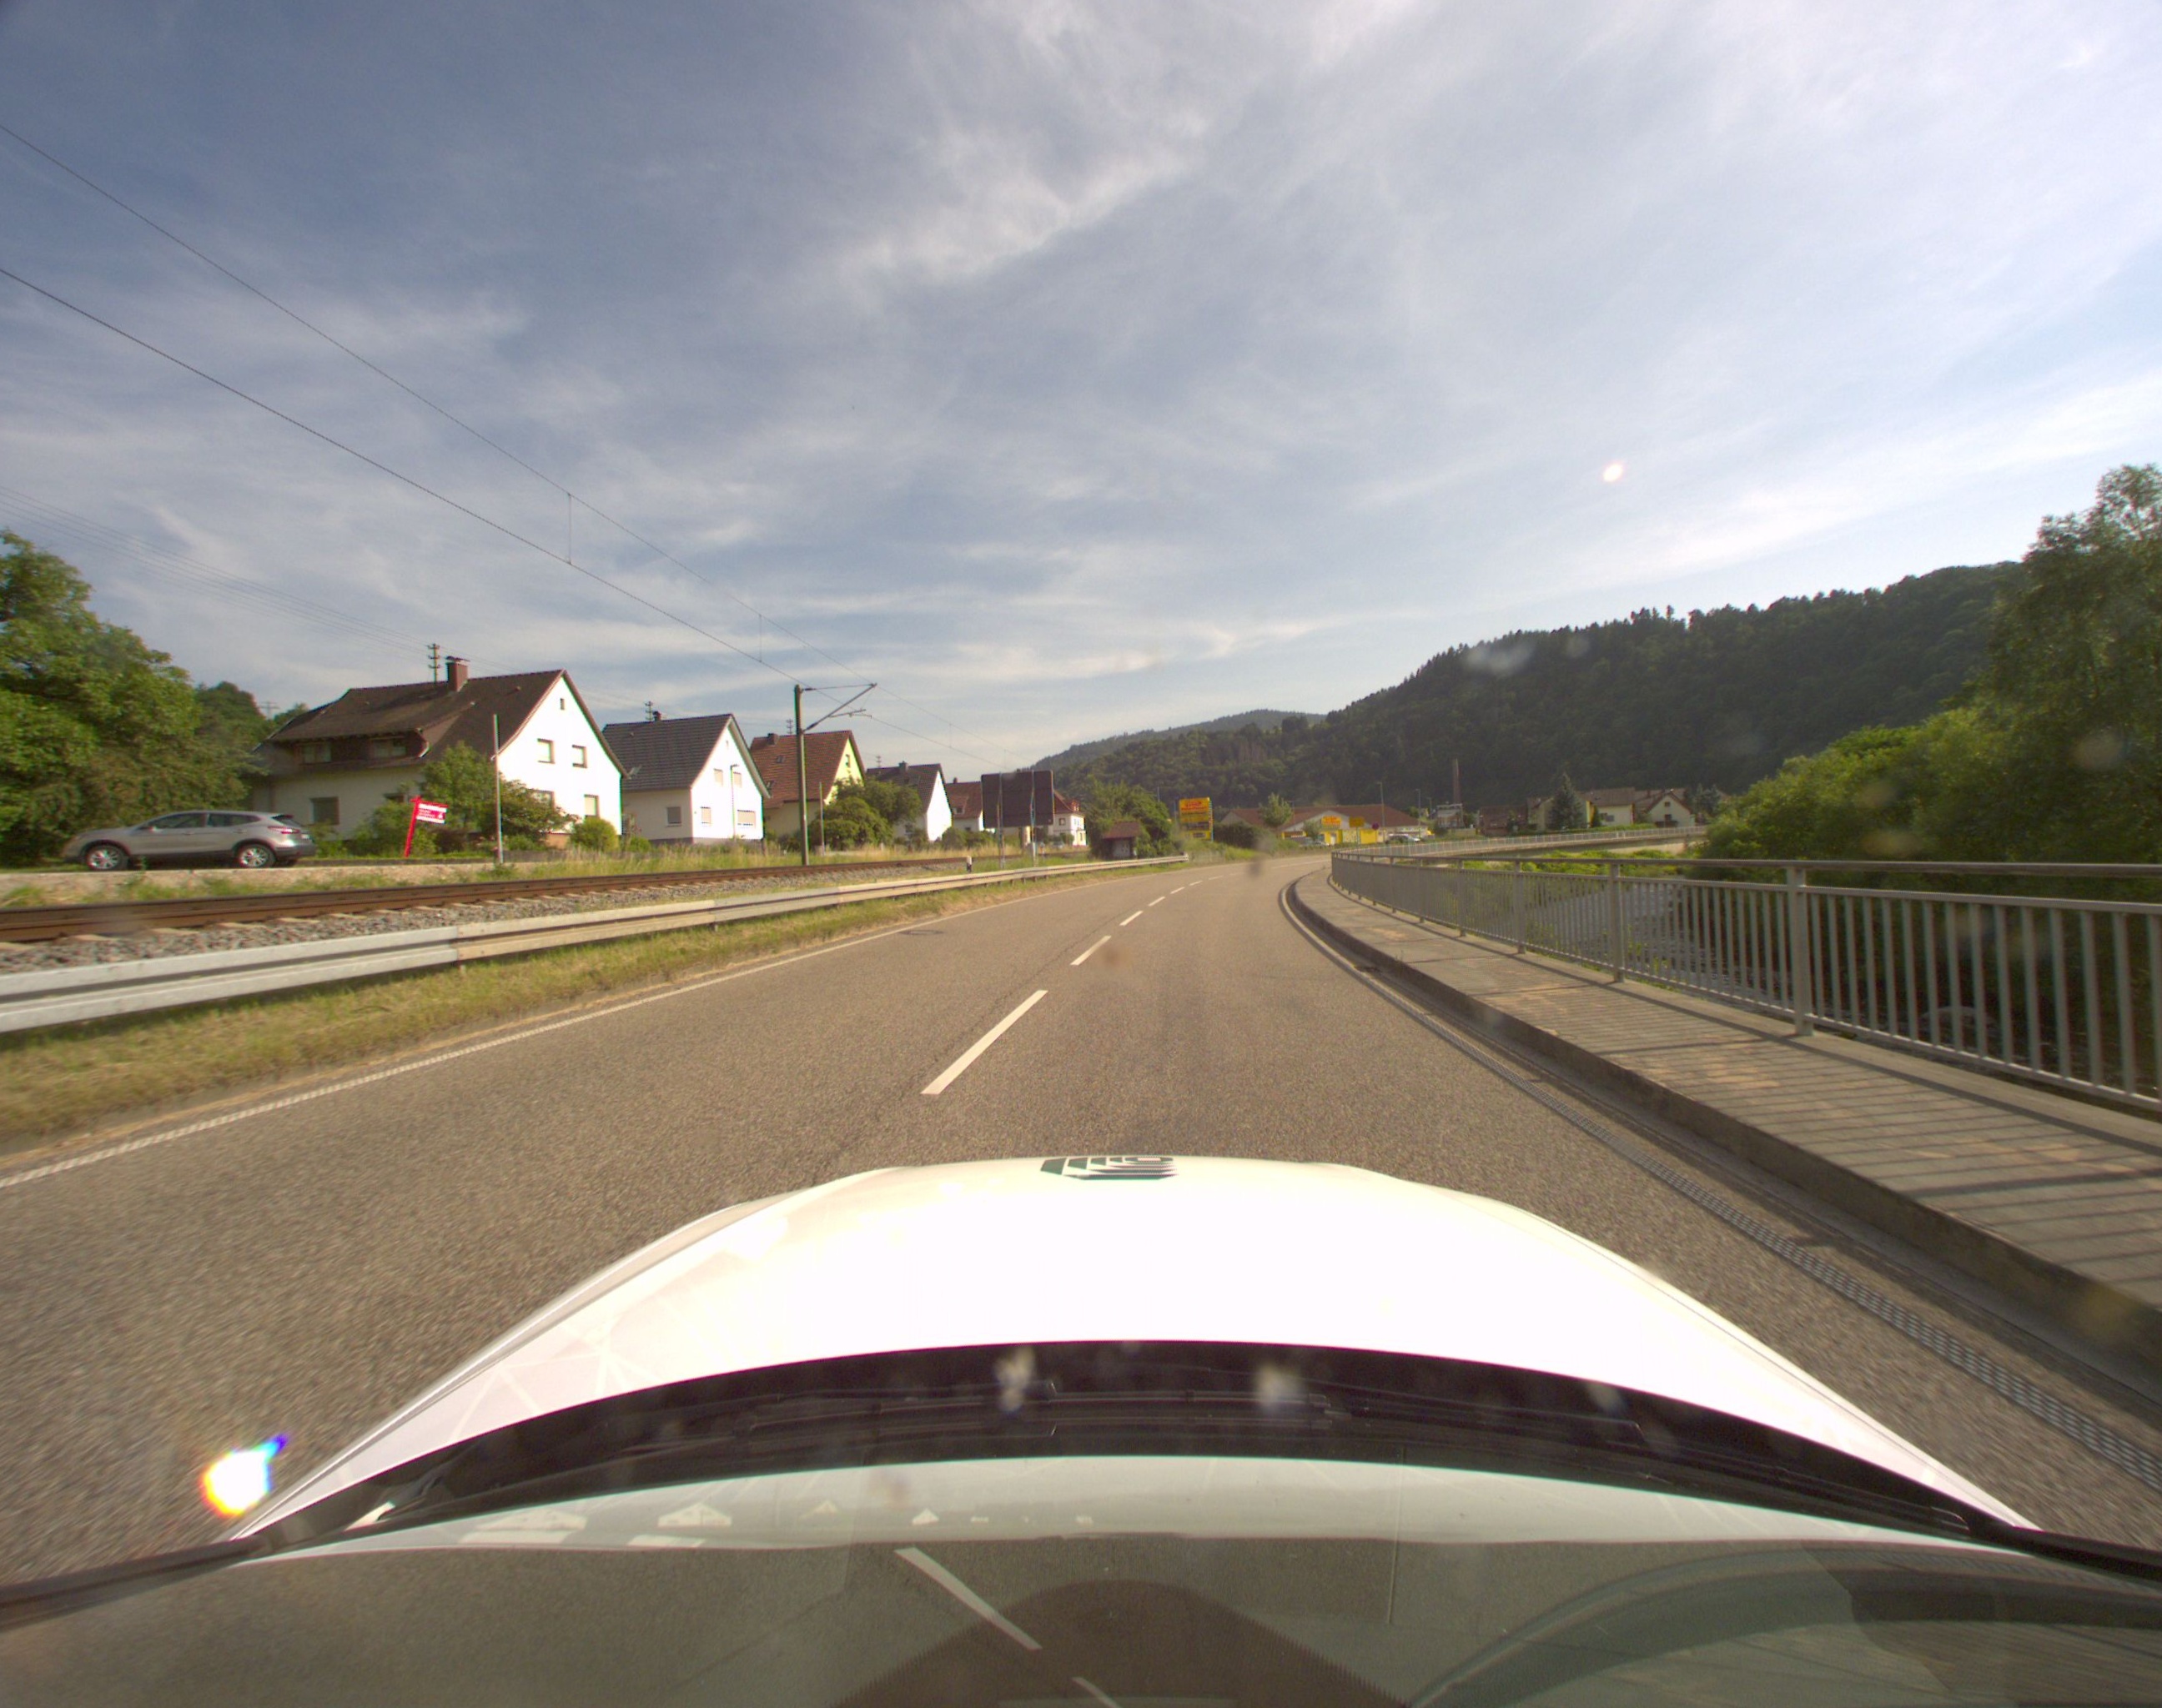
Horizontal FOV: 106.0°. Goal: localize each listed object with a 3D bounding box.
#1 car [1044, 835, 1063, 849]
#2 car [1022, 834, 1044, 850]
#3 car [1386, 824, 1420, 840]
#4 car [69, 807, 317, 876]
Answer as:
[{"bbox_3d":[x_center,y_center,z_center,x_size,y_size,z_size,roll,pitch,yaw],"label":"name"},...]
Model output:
[{"bbox_3d":[-3.950,-1.692,117.807,1.983,1.881,4.008,4,0,7],"label":"car"},{"bbox_3d":[-6.066,-1.520,104.226,1.983,1.881,4.008,4,0,7],"label":"car"},{"bbox_3d":[45.246,-3.118,114.349,3.949,2.014,2.012,-1,-3,43],"label":"car"},{"bbox_3d":[-23.203,-0.394,21.525,4.039,1.674,1.634,-2,3,-30],"label":"car"}]
